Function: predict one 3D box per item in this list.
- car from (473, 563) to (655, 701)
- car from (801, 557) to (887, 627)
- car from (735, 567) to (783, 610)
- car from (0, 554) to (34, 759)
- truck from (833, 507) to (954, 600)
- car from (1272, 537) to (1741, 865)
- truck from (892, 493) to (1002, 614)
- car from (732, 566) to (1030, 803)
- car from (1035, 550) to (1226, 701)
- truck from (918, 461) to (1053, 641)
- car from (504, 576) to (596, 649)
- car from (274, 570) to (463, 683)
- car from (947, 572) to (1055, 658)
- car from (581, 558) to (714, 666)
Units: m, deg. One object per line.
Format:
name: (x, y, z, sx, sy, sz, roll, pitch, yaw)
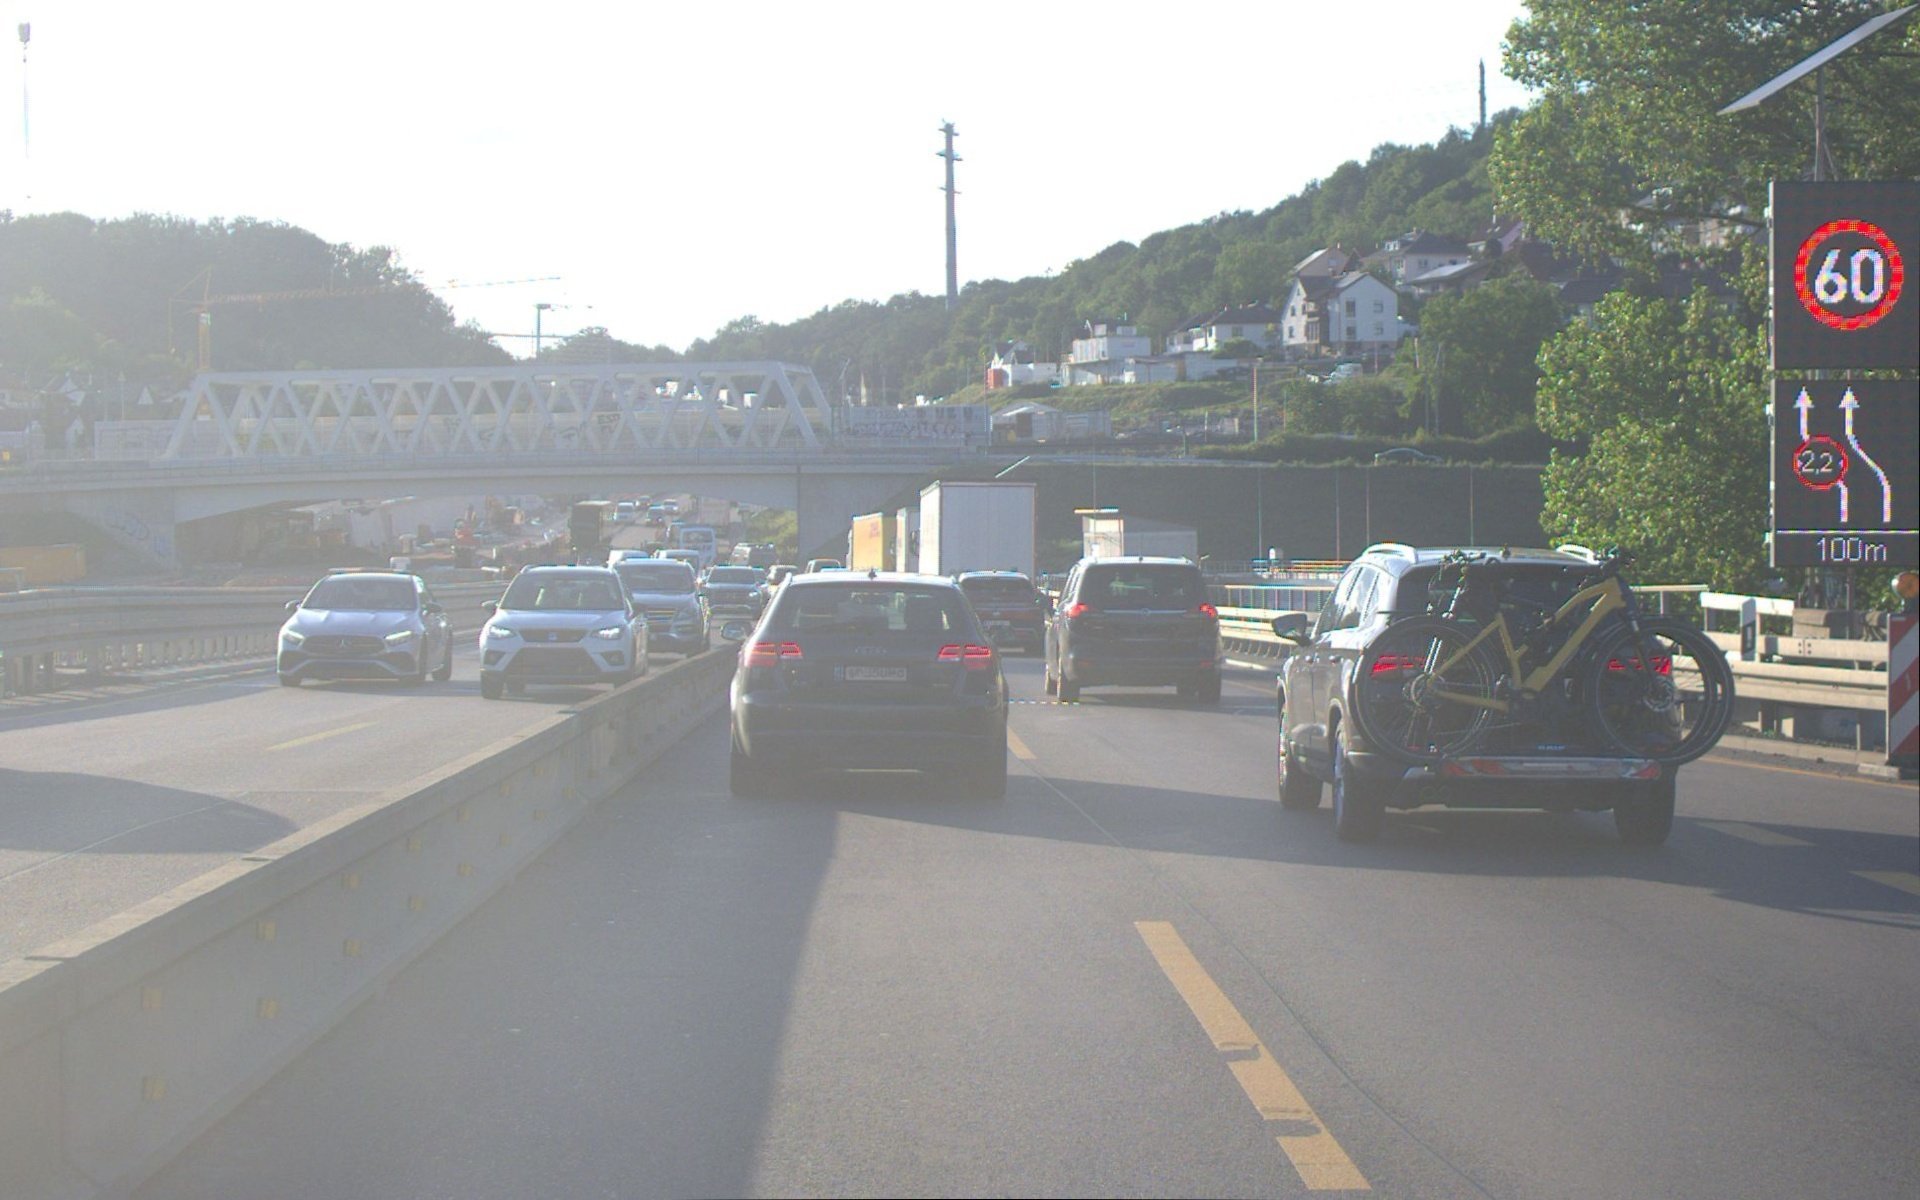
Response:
car: (-4.588, 0.336, 40.267, 1.804, 1.506, 4.001, 0, 1, -2)
car: (-2.640, -0.203, 77.306, 1.765, 1.481, 4.001, 1, 1, -4)
car: (-8.019, -0.471, 137.580, 1.838, 1.634, 4.000, -1, 0, -3)
car: (-7.493, 0.418, 22.552, 1.677, 1.418, 4.579, 1, 1, -1)
truck: (-3.506, -2.471, 175.814, 3.889, 4.483, 13.853, 1, 2, -11)
car: (2.877, 0.469, 19.174, 1.875, 1.594, 4.966, 0, 0, 1)
truck: (-0.649, -1.963, 136.671, 3.890, 4.483, 15.269, 1, 2, -2)
car: (-0.585, 0.488, 22.615, 1.769, 1.385, 4.001, 1, 1, -3)
car: (1.909, 0.251, 39.752, 1.814, 1.627, 4.411, 1, 1, -2)
truck: (0.568, -1.554, 95.655, 3.385, 4.482, 15.269, 1, 3, -1)
car: (-9.334, 0.260, 78.543, 1.710, 1.546, 4.000, -1, 1, -1)
car: (-7.599, 0.330, 44.524, 1.774, 1.377, 4.532, 0, 0, -2)
car: (0.757, 0.271, 66.417, 1.769, 1.547, 4.001, 1, 1, -3)
car: (-5.270, 0.174, 58.480, 1.993, 1.752, 4.661, 0, 0, -2)
